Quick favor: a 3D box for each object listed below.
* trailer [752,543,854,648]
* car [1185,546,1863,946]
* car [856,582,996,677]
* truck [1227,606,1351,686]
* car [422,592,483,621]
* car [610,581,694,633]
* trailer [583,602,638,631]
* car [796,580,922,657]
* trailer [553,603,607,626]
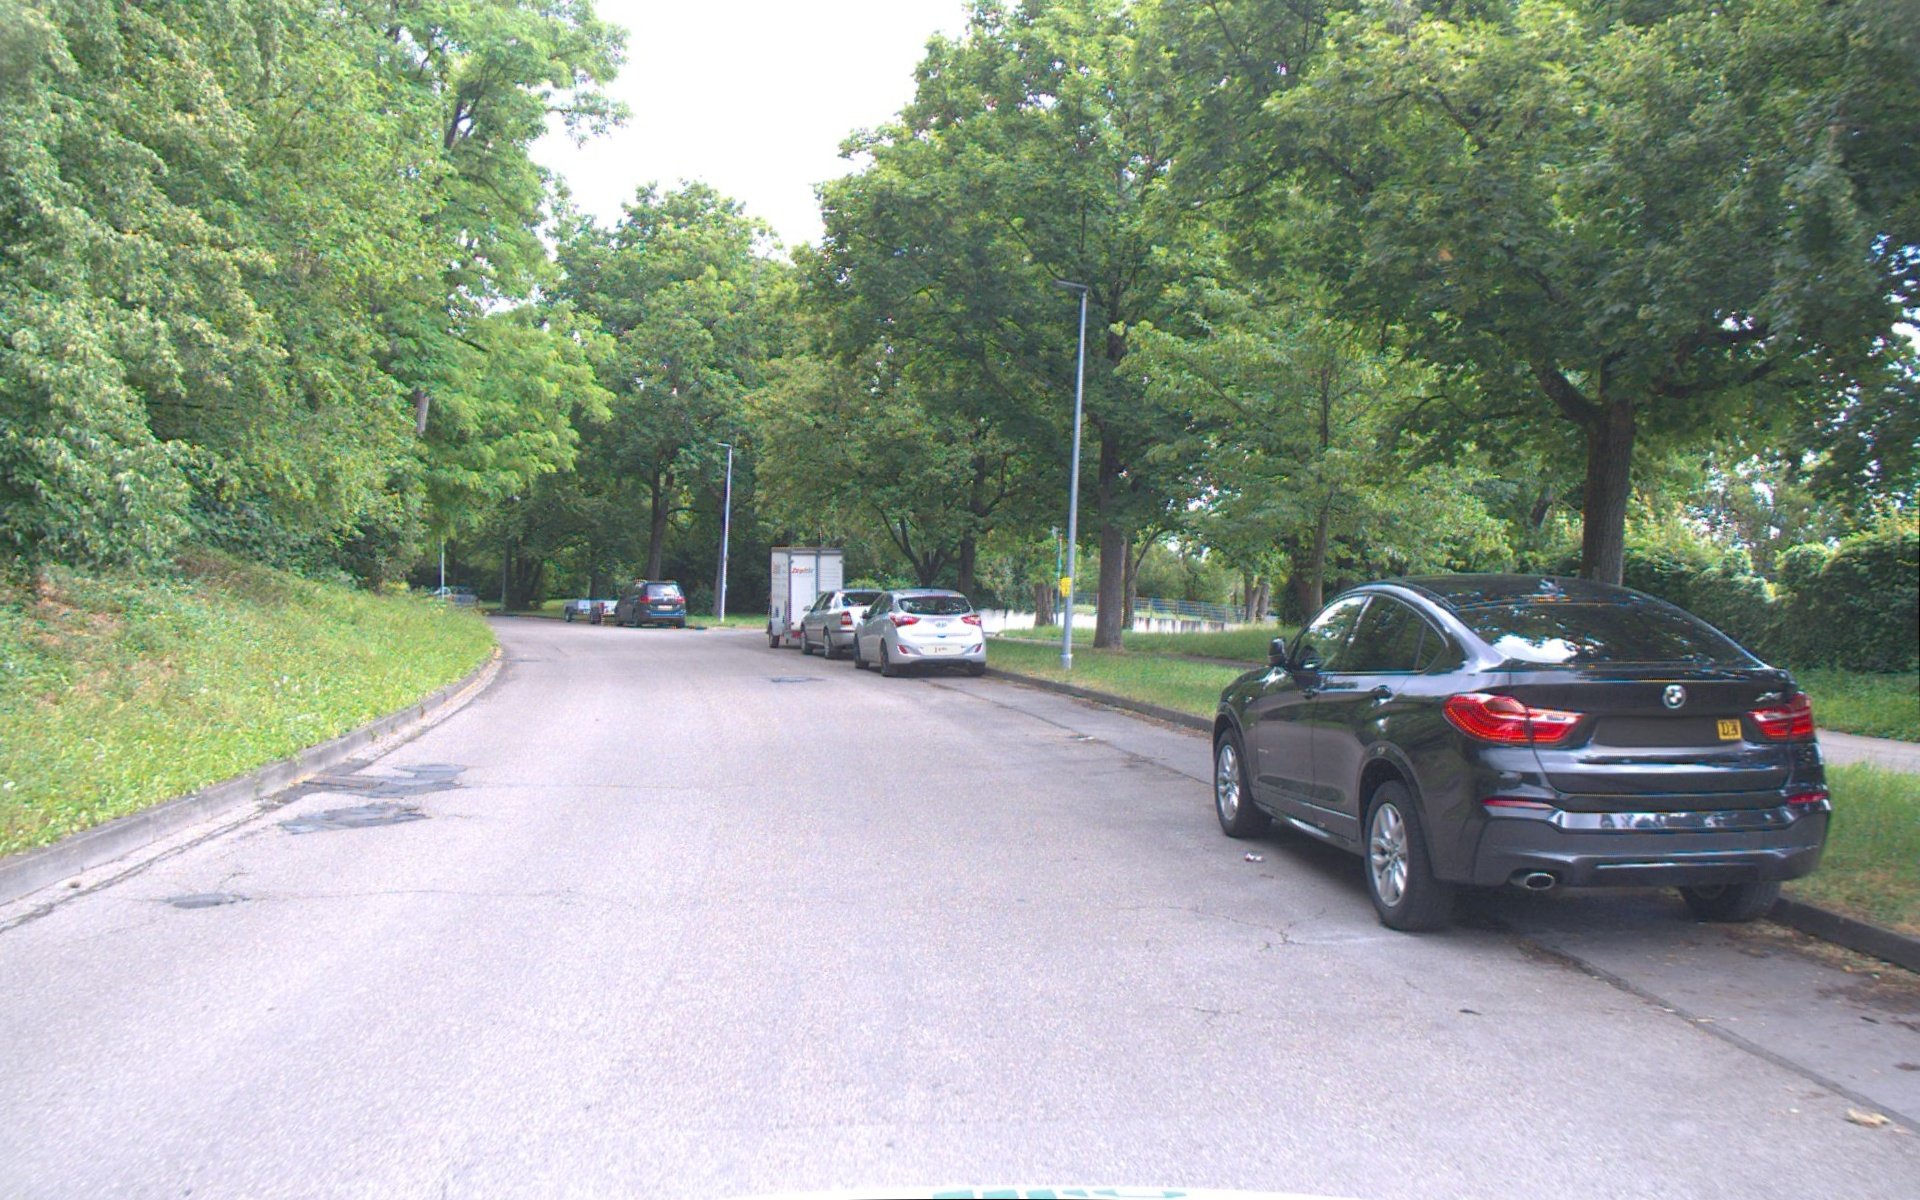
[{"bbox_3d":[-3.948,-0.111,41.090,1.733,2.469,3.867,0,0,-18],"label":"trailer"},{"bbox_3d":[2.729,0.621,9.279,1.813,1.671,4.523,1,0,-7],"label":"car"},{"bbox_3d":[-0.686,0.567,29.426,1.868,1.502,4.049,2,-2,-10],"label":"car"},{"bbox_3d":[18.349,2.615,91.689,2.646,4.068,9.525,0,-3,38],"label":"truck"},{"bbox_3d":[-25.573,0.343,83.320,1.705,1.456,3.896,0,-1,-37],"label":"car"},{"bbox_3d":[-11.004,0.258,58.864,1.753,1.692,4.802,3,-1,-25],"label":"car"},{"bbox_3d":[-13.613,0.625,64.326,1.339,0.986,3.864,3,-1,-23],"label":"trailer"},{"bbox_3d":[-2.273,0.384,35.964,1.714,1.552,4.613,0,0,-17],"label":"car"},{"bbox_3d":[-15.768,0.606,68.568,1.348,0.862,3.247,3,-3,-29],"label":"trailer"}]
